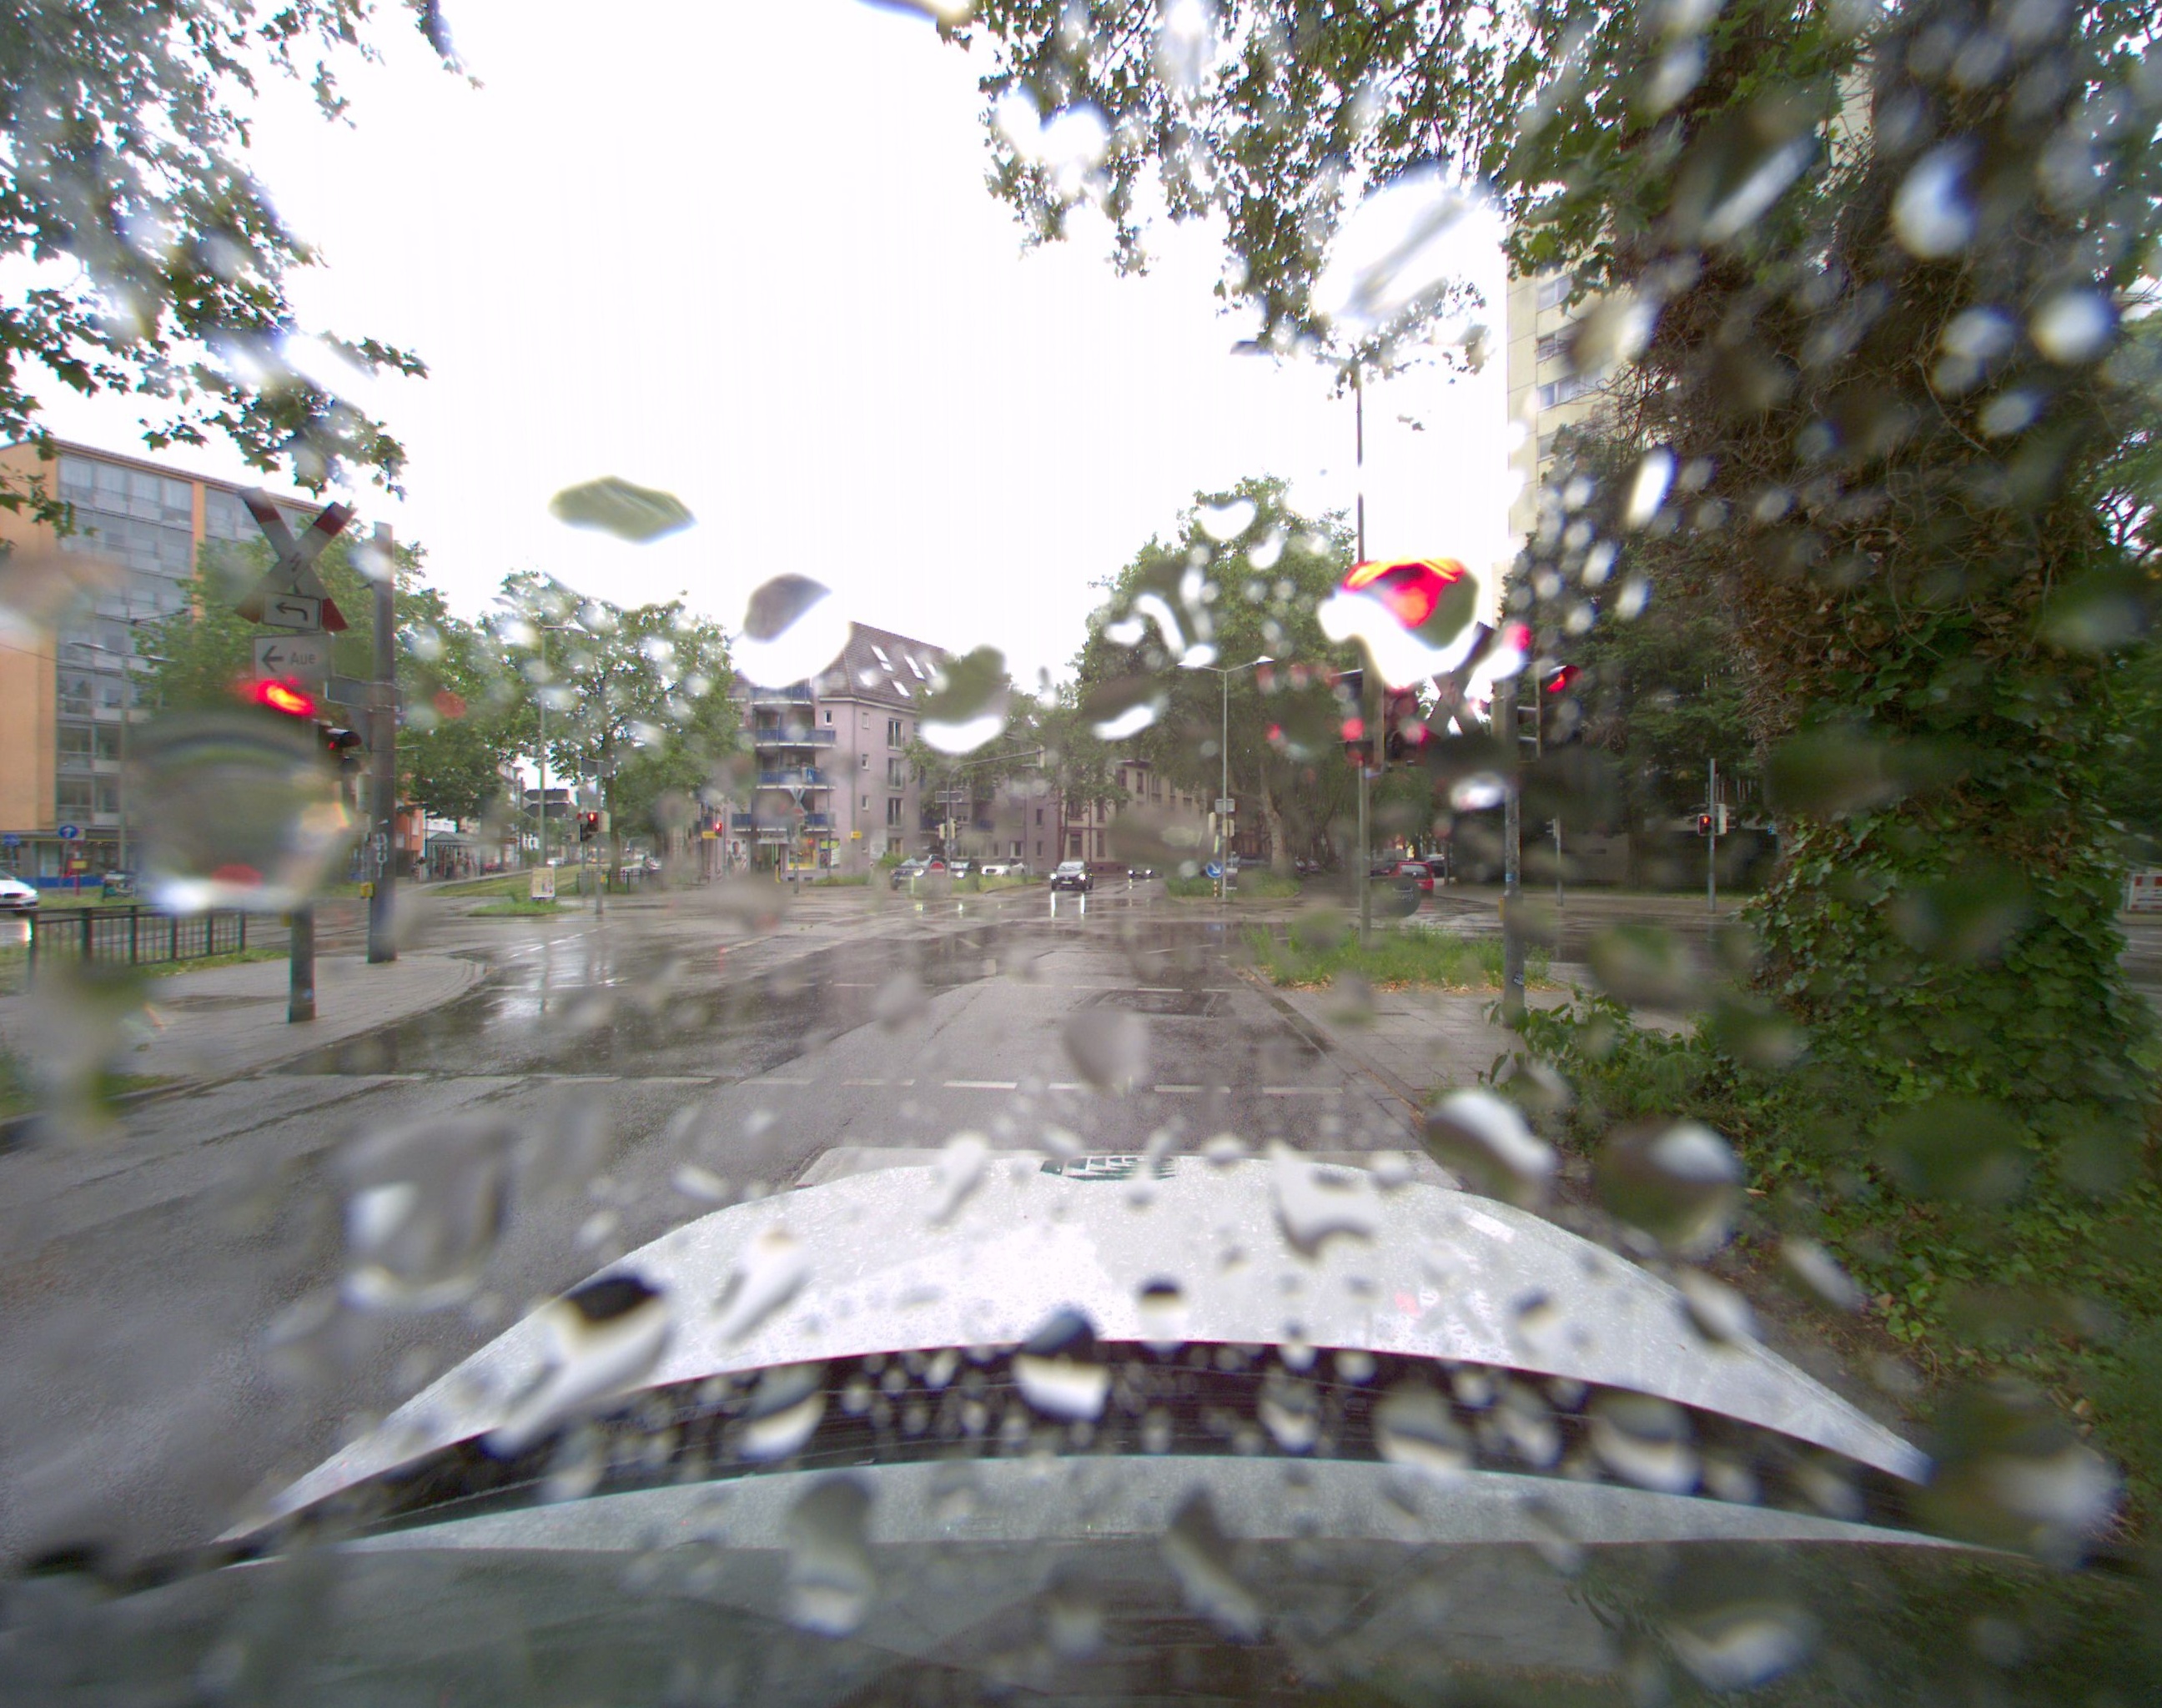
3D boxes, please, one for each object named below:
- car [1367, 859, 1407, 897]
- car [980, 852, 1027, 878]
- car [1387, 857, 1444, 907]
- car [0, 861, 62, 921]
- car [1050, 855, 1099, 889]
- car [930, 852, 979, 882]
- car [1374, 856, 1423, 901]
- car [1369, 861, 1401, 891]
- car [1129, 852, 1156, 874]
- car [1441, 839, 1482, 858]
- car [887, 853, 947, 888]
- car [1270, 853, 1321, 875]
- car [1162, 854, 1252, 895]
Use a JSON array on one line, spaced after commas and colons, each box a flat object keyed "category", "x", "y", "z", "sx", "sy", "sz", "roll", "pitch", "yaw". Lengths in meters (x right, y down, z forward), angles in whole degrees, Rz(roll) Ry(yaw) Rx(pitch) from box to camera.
[{"category": "car", "x": 17.827, "y": 1.355, "z": 47.598, "sx": 1.977, "sy": 2.013, "sz": 4.019, "roll": -2, "pitch": 0, "yaw": 18}, {"category": "car", "x": -5.007, "y": 0.669, "z": 53.292, "sx": 1.665, "sy": 1.552, "sz": 4.215, "roll": -2, "pitch": 0, "yaw": 14}, {"category": "car", "x": 14.827, "y": 1.205, "z": 36.297, "sx": 1.977, "sy": 2.013, "sz": 4.019, "roll": -2, "pitch": 0, "yaw": 18}, {"category": "car", "x": -32.151, "y": 1.106, "z": 23.430, "sx": 3.978, "sy": 1.651, "sz": 1.980, "roll": -2, "pitch": 0, "yaw": 13}, {"category": "car", "x": -0.284, "y": 0.875, "z": 40.718, "sx": 1.591, "sy": 1.552, "sz": 3.572, "roll": -2, "pitch": 0, "yaw": 13}, {"category": "car", "x": -6.981, "y": 0.705, "z": 45.229, "sx": 1.715, "sy": 1.552, "sz": 3.567, "roll": -2, "pitch": 0, "yaw": 8}, {"category": "car", "x": 15.762, "y": 1.170, "z": 40.575, "sx": 1.977, "sy": 2.013, "sz": 4.019, "roll": -2, "pitch": 0, "yaw": 18}, {"category": "car", "x": 22.019, "y": 1.559, "z": 59.099, "sx": 1.977, "sy": 2.013, "sz": 4.019, "roll": -2, "pitch": 0, "yaw": 18}, {"category": "car", "x": 4.795, "y": 0.680, "z": 63.235, "sx": 1.591, "sy": 1.552, "sz": 3.571, "roll": -2, "pitch": 0, "yaw": 12}, {"category": "car", "x": 42.558, "y": -0.614, "z": 91.113, "sx": 3.953, "sy": 2.013, "sz": 1.716, "roll": -2, "pitch": 0, "yaw": 21}, {"category": "car", "x": -7.825, "y": 0.739, "z": 39.143, "sx": 1.715, "sy": 1.552, "sz": 3.567, "roll": -2, "pitch": 0, "yaw": 8}, {"category": "car", "x": 17.176, "y": 0.785, "z": 65.317, "sx": 3.571, "sy": 1.618, "sz": 1.692, "roll": -2, "pitch": 0, "yaw": 30}, {"category": "car", "x": 5.121, "y": 0.809, "z": 33.015, "sx": 3.457, "sy": 1.523, "sz": 1.524, "roll": -2, "pitch": 0, "yaw": 10}]
